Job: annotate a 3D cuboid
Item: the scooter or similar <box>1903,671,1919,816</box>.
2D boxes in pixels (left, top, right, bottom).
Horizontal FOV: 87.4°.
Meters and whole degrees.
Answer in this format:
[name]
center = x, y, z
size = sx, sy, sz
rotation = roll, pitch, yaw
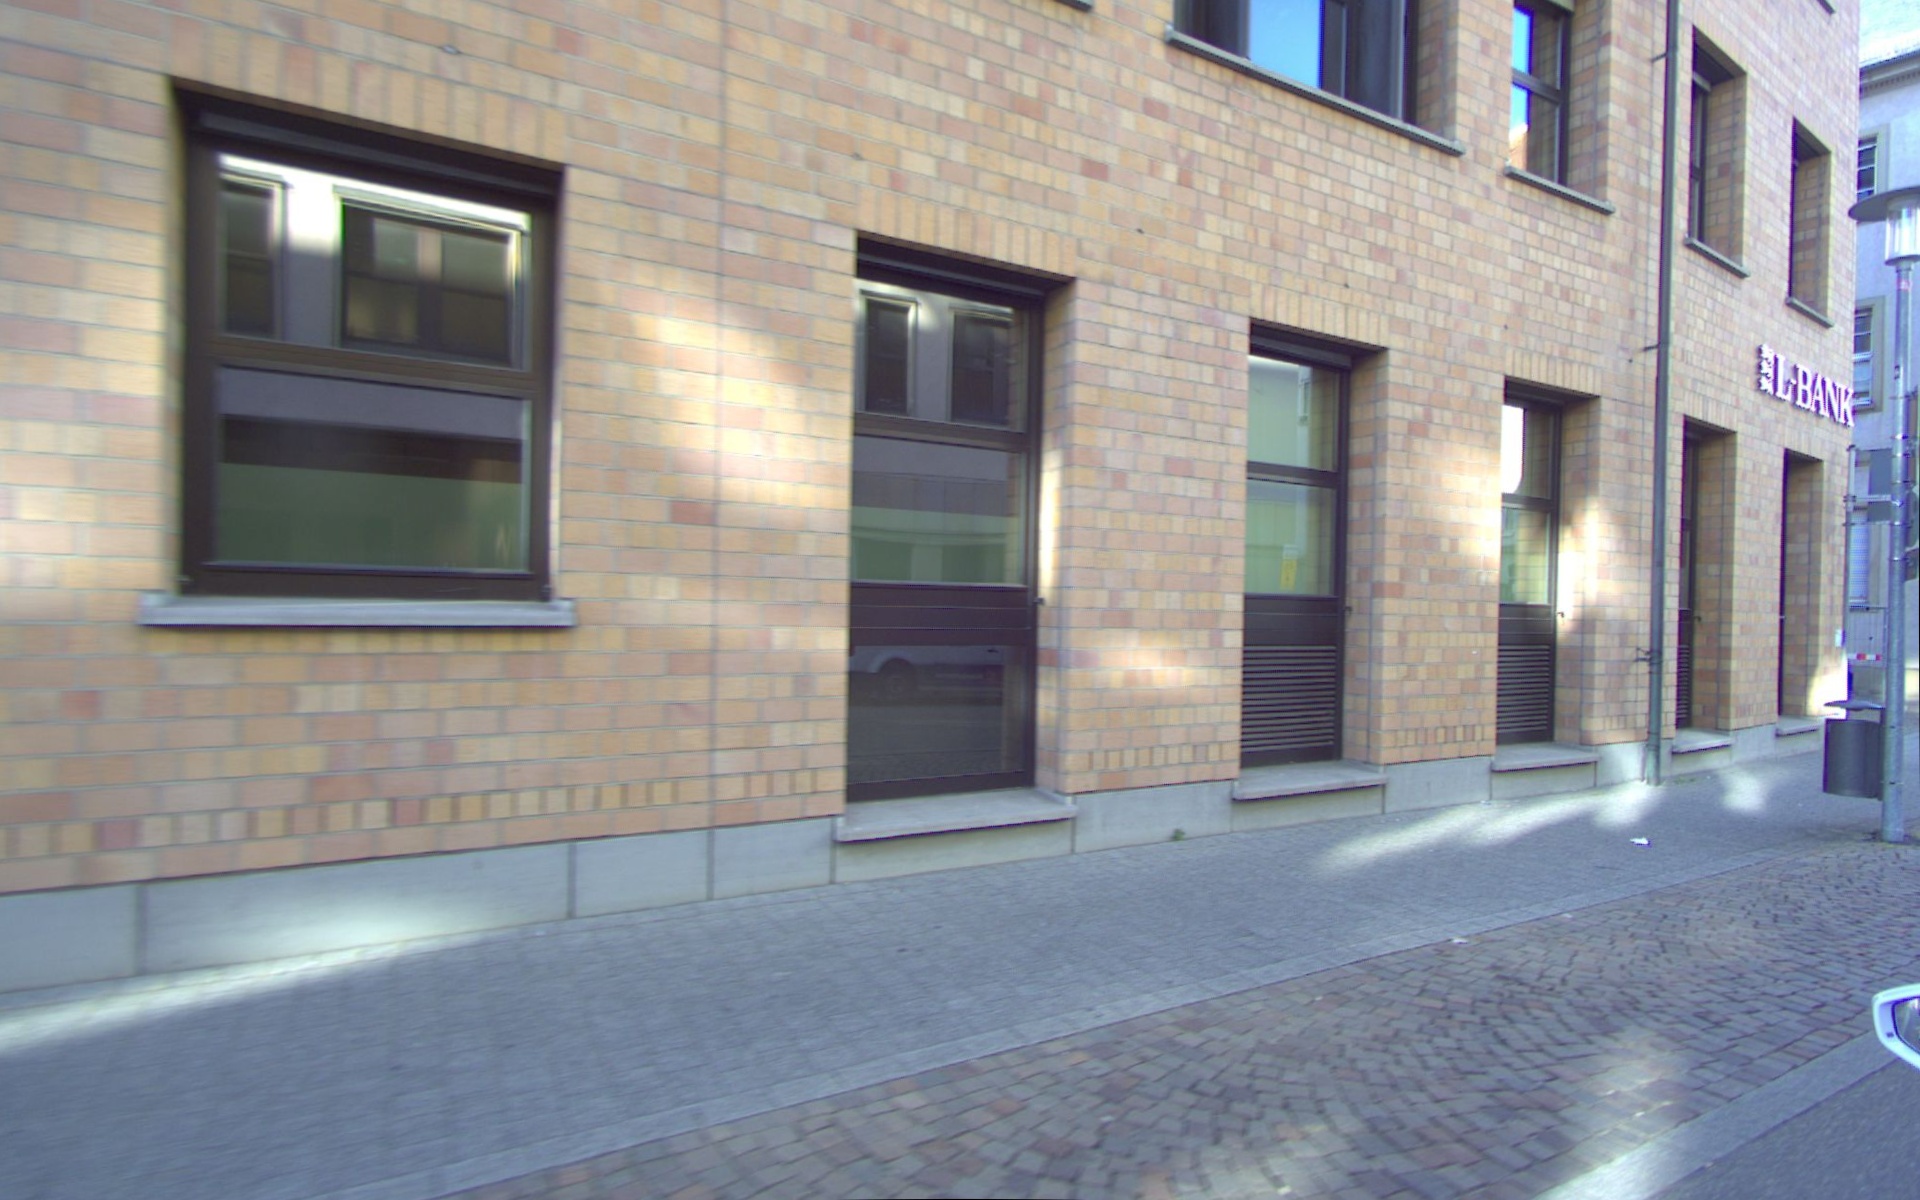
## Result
[scooter or similar]
center = 8.927, 1.244, 8.473
size = 1.331, 1.233, 0.699
rotation = 1, -1, -4
